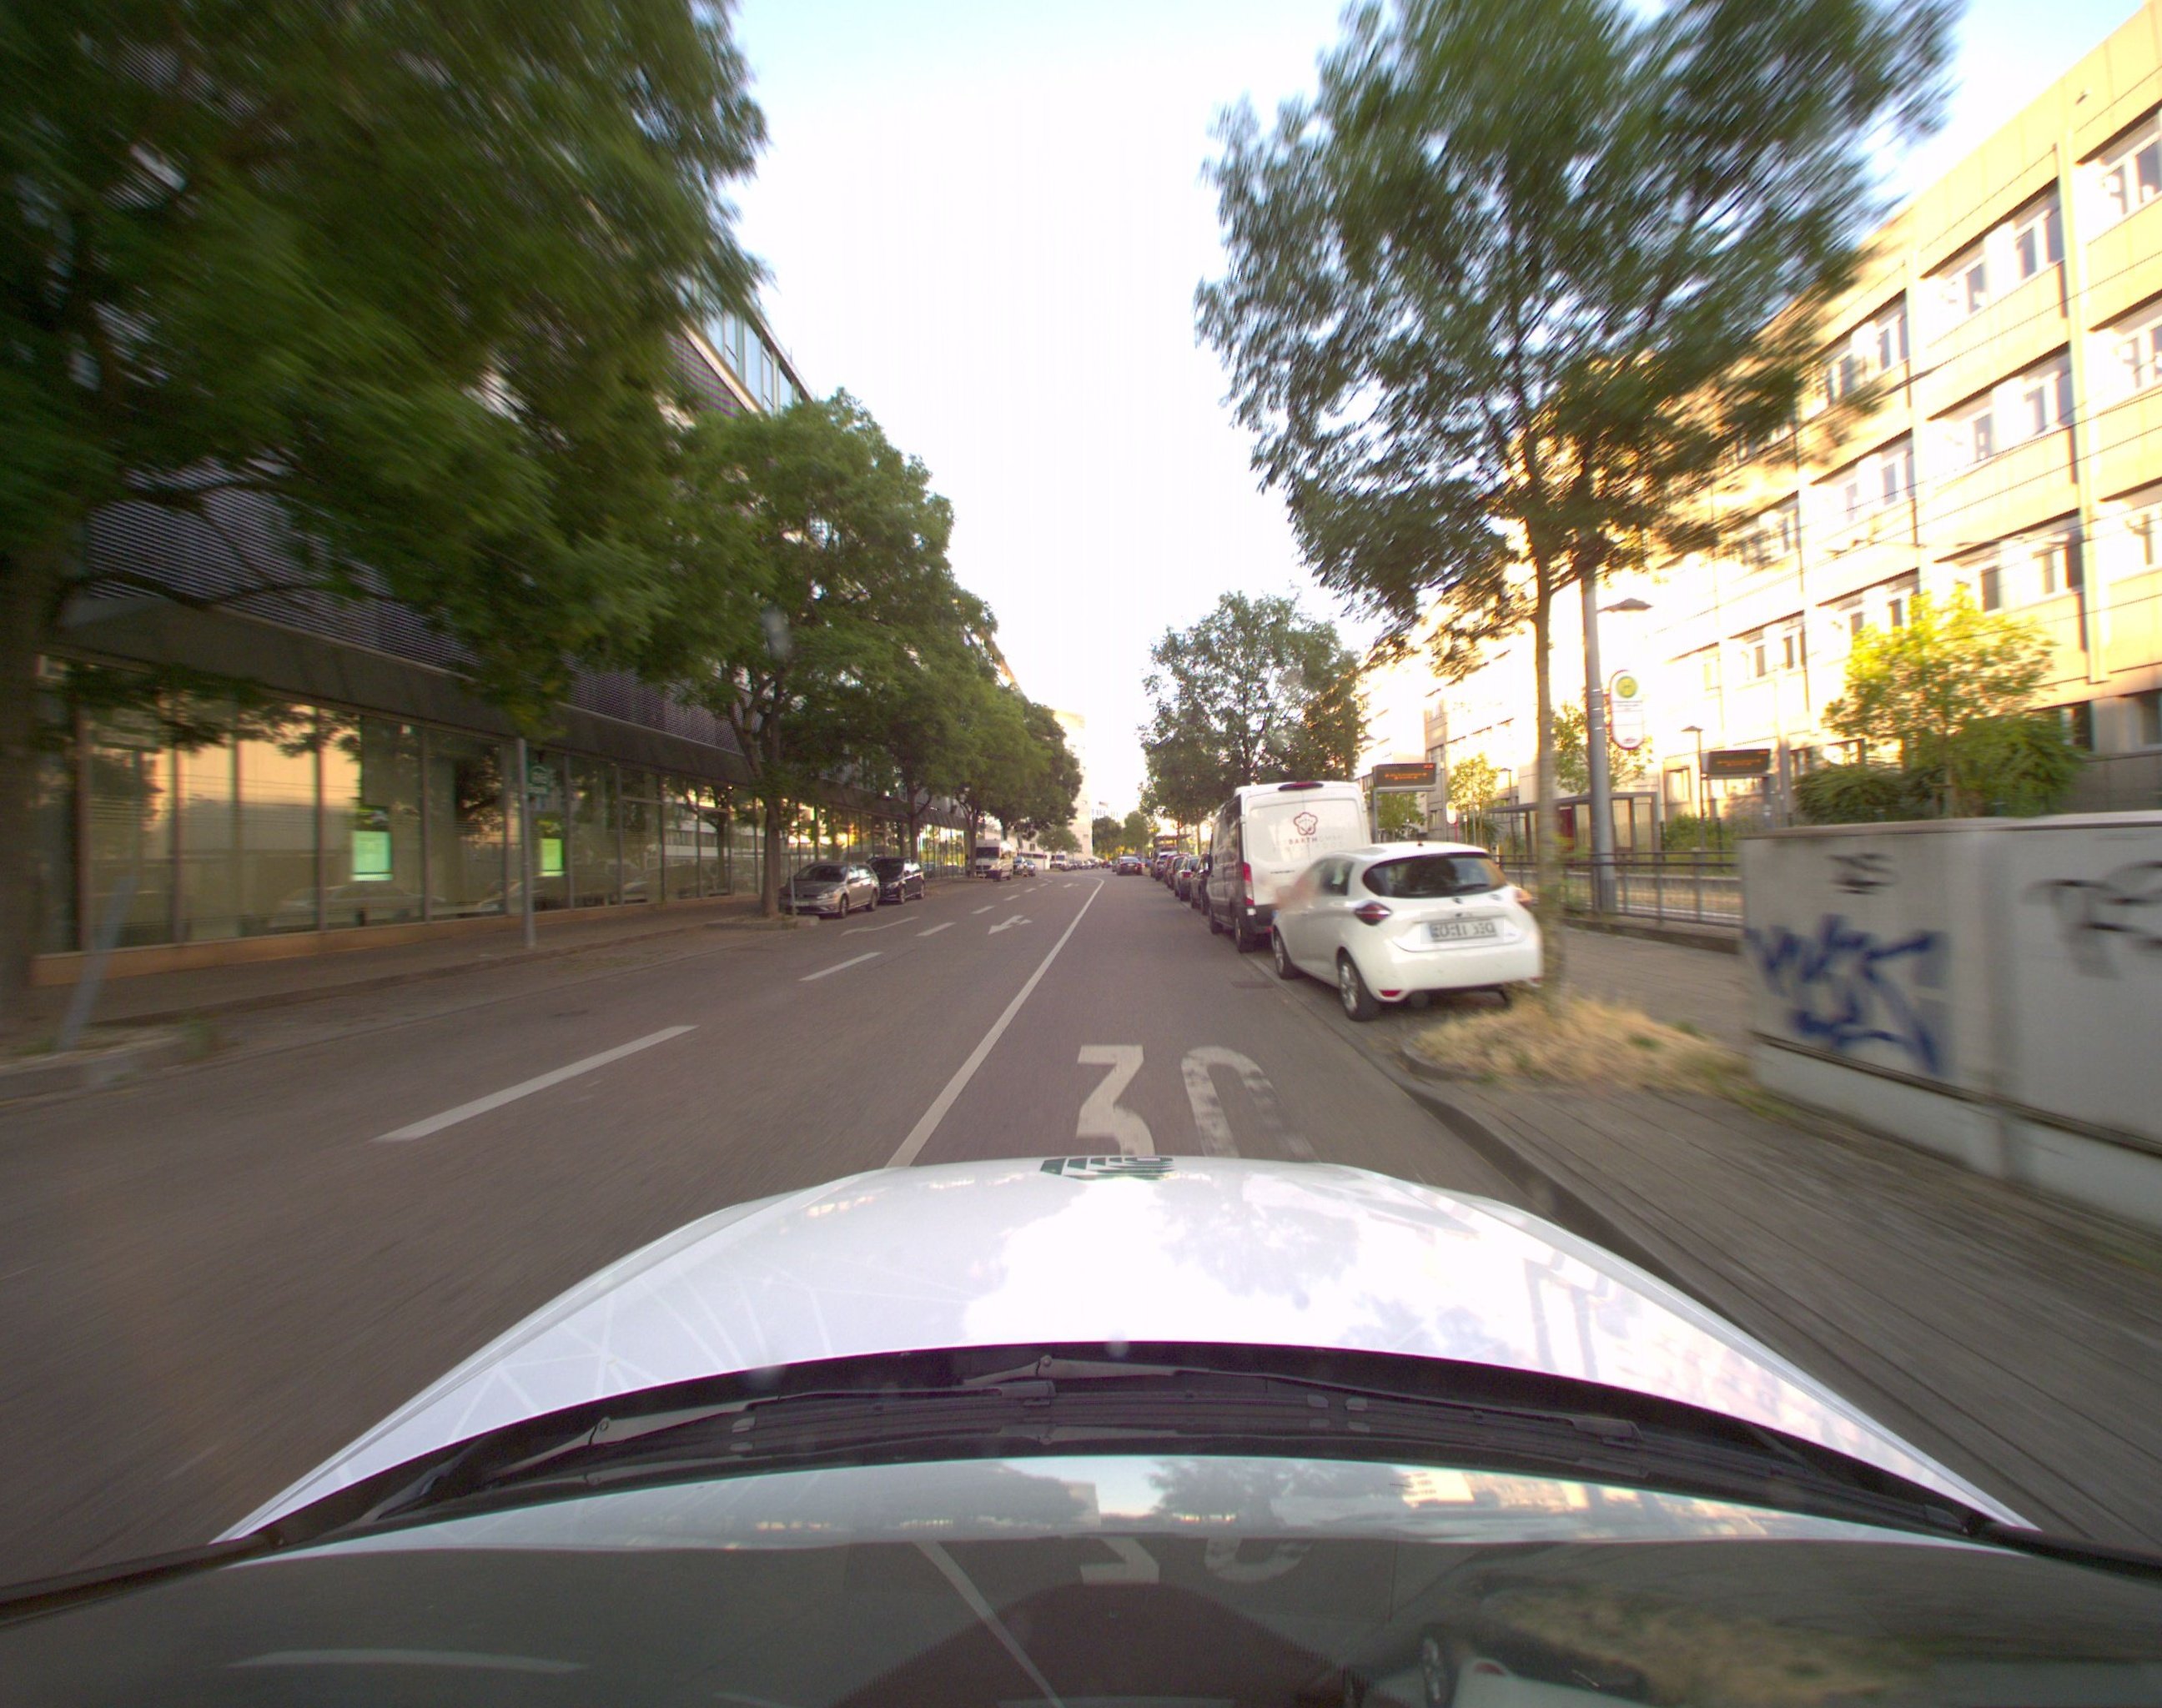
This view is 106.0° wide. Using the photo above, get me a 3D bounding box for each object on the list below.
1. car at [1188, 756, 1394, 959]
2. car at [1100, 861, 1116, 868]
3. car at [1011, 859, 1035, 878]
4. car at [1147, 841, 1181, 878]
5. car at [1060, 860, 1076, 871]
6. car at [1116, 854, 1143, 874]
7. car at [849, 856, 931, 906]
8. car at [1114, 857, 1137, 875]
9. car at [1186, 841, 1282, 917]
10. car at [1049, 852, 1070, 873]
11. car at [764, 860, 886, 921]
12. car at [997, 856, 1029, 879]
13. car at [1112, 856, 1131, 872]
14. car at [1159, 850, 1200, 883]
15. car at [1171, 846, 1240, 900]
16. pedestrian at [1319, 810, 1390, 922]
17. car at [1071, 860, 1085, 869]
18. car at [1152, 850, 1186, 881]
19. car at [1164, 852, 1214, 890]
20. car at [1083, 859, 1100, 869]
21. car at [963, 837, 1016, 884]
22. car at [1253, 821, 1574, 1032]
[{"bbox_3d":[3.294,0.067,14.128,2.044,2.657,5.435,-5,-1,1],"label":"car"},{"bbox_3d":[5.100,2.008,153.677,1.928,1.382,4.420,0,0,19],"label":"car"},{"bbox_3d":[-4.726,1.148,66.480,1.710,1.452,4.396,-2,0,-1],"label":"car"},{"bbox_3d":[5.426,0.382,53.809,1.797,2.176,4.738,-4,-1,2],"label":"car"},{"bbox_3d":[-1.792,1.513,110.098,1.747,1.439,3.907,0,0,5],"label":"car"},{"bbox_3d":[3.735,0.737,63.662,1.781,1.452,4.514,-2,0,0],"label":"car"},{"bbox_3d":[-6.533,0.879,28.323,1.583,1.568,4.474,1,0,3],"label":"car"},{"bbox_3d":[3.781,1.018,69.739,1.671,1.452,4.186,-2,-1,0],"label":"car"},{"bbox_3d":[3.789,0.593,20.871,1.701,1.643,4.269,-4,-1,2],"label":"car"},{"bbox_3d":[-2.636,1.045,103.386,1.949,2.617,6.900,0,0,4],"label":"car"},{"bbox_3d":[-6.864,0.905,22.406,1.696,1.461,4.629,1,0,2],"label":"car"},{"bbox_3d":[-5.076,0.992,61.380,1.836,1.571,4.270,-2,0,3],"label":"car"},{"bbox_3d":[4.034,1.022,80.954,1.725,1.466,3.999,0,-1,0],"label":"car"},{"bbox_3d":[5.033,0.650,42.129,1.701,1.493,4.132,-4,-1,2],"label":"car"},{"bbox_3d":[4.136,0.606,27.683,1.788,1.496,4.785,-5,-1,4],"label":"car"},{"bbox_3d":[5.115,0.217,15.231,0.985,2.014,0.798,-1,-1,-43],"label":"pedestrian"},{"bbox_3d":[-0.460,1.737,132.834,1.712,1.457,4.282,0,0,9],"label":"car"},{"bbox_3d":[5.098,0.648,47.457,1.700,1.580,4.483,-4,-1,4],"label":"car"},{"bbox_3d":[4.696,0.723,35.756,1.701,1.451,4.002,-4,-1,2],"label":"car"},{"bbox_3d":[1.809,1.771,143.582,1.743,1.798,4.484,0,0,18],"label":"car"},{"bbox_3d":[-5.572,0.370,50.751,2.092,2.664,6.956,-2,0,3],"label":"car"},{"bbox_3d":[3.160,0.618,8.724,1.742,1.583,4.014,-5,-1,1],"label":"car"}]
